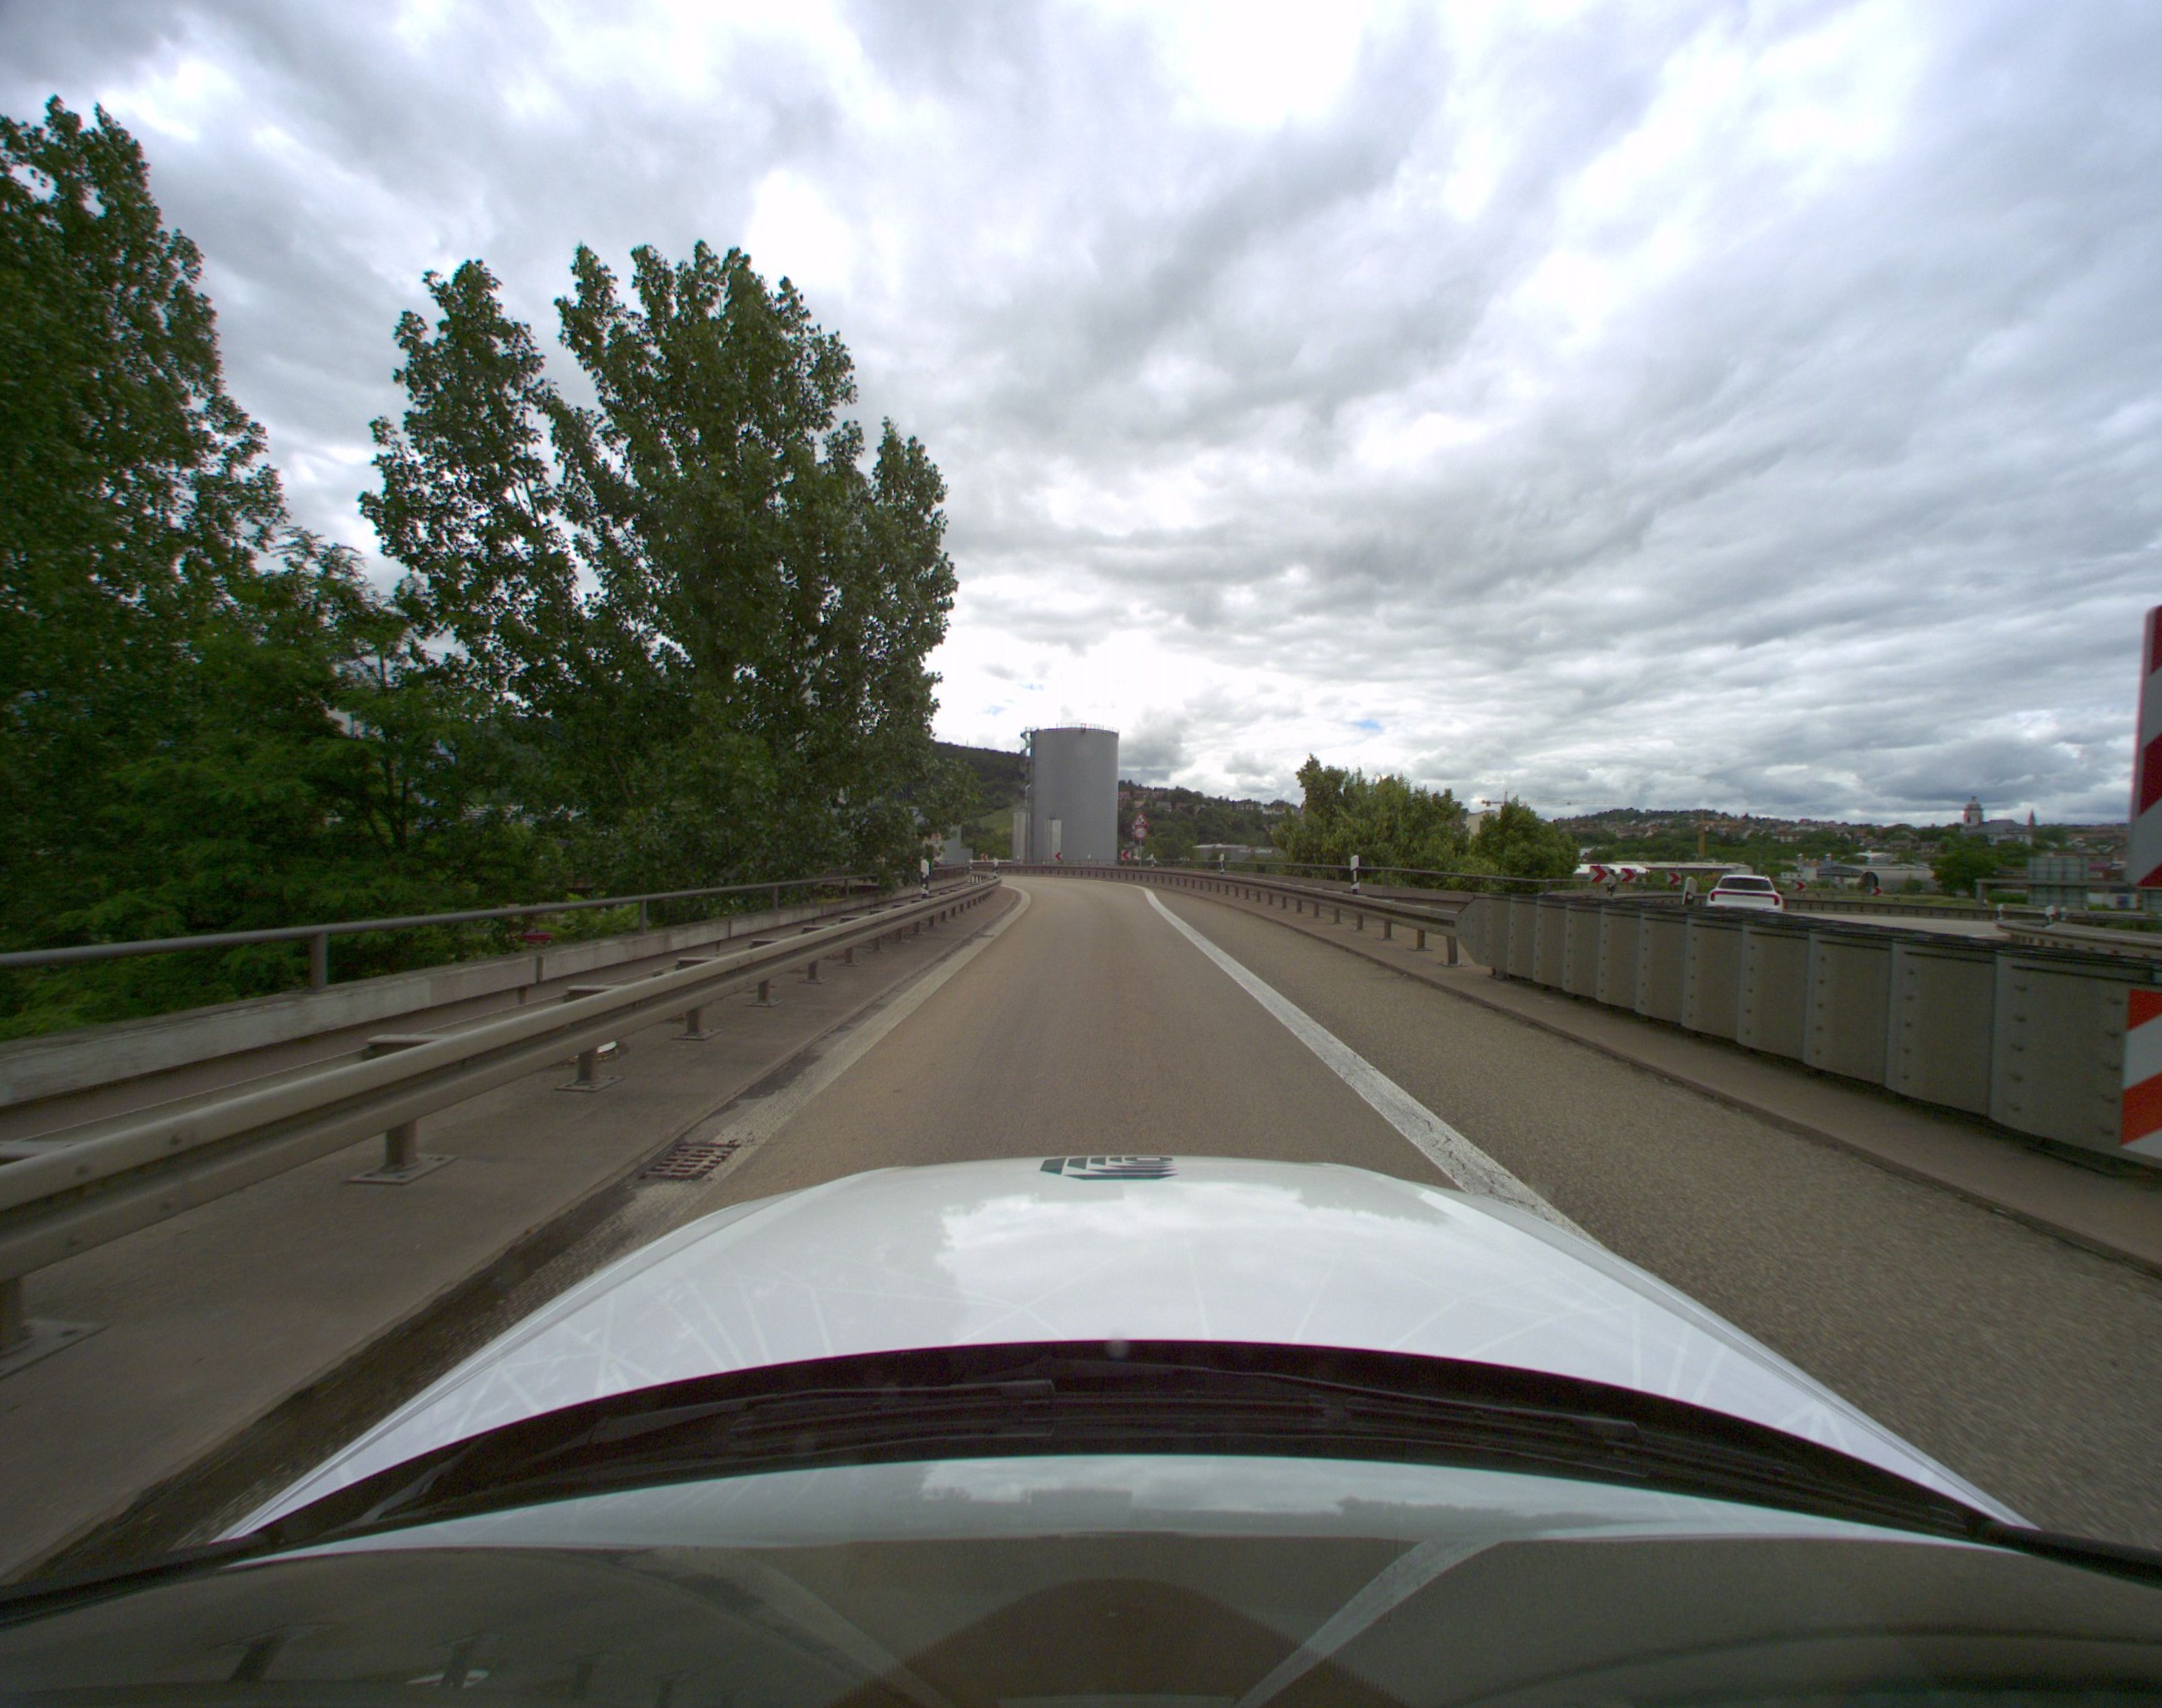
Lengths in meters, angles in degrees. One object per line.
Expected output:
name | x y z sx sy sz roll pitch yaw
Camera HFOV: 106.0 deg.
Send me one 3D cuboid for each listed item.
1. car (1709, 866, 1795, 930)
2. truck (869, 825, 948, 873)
car | 21.736 1.343 26.377 1.975 1.780 4.025 3 2 40
truck | -14.005 -0.351 65.592 3.076 3.673 7.835 0 -1 -39
